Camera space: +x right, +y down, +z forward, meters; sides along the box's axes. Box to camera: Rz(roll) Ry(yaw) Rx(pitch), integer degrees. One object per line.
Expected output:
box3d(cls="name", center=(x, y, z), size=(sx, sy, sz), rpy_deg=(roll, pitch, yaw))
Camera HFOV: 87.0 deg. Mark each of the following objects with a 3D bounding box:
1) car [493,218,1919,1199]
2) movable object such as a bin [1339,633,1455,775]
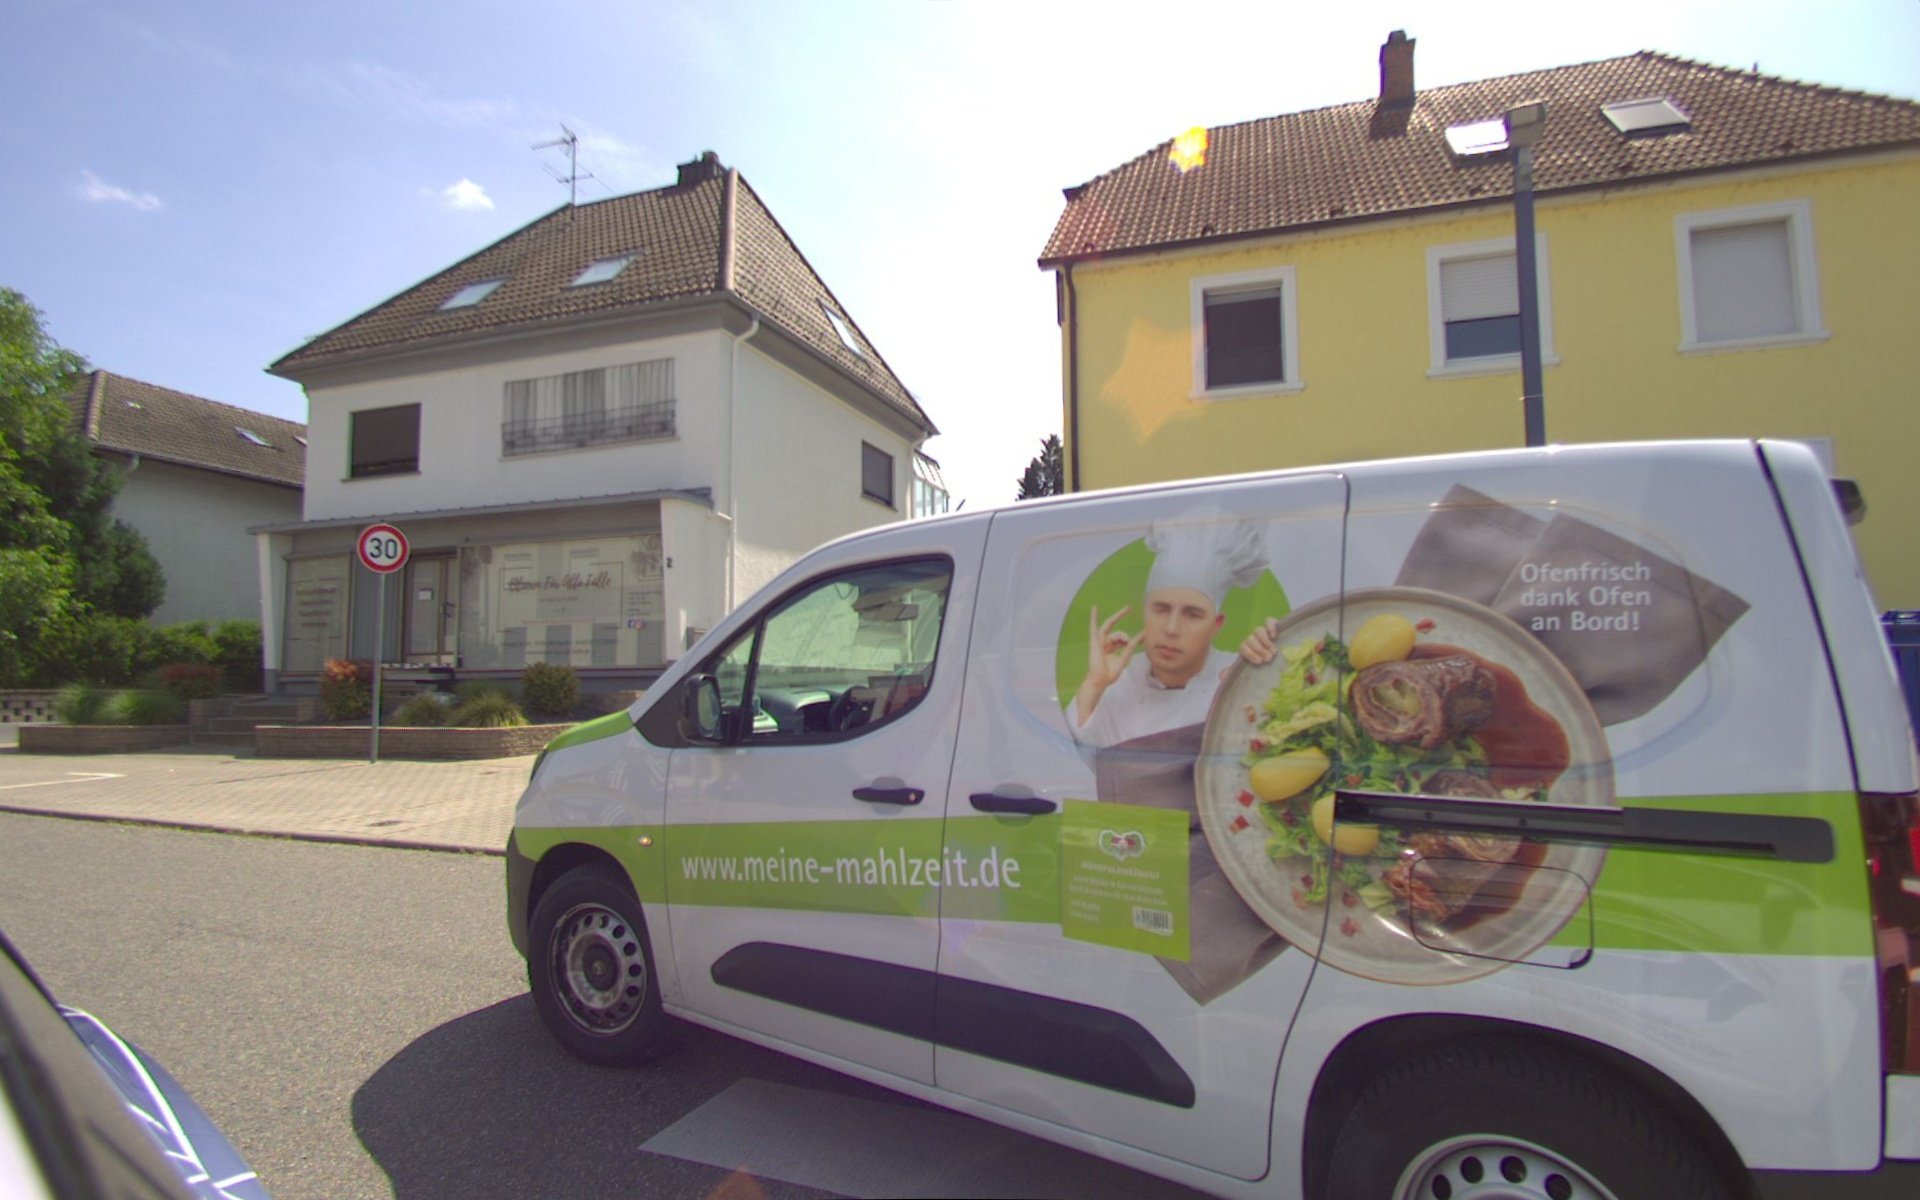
box3d(cls="car", center=(0.652, 0.503, 2.968), size=(4.553, 1.869, 1.795), rpy_deg=(-3, -3, 38))
box3d(cls="movable object such as a bin", center=(4.044, 0.952, 9.430), size=(0.896, 1.235, 0.881), rpy_deg=(-2, -4, 22))
